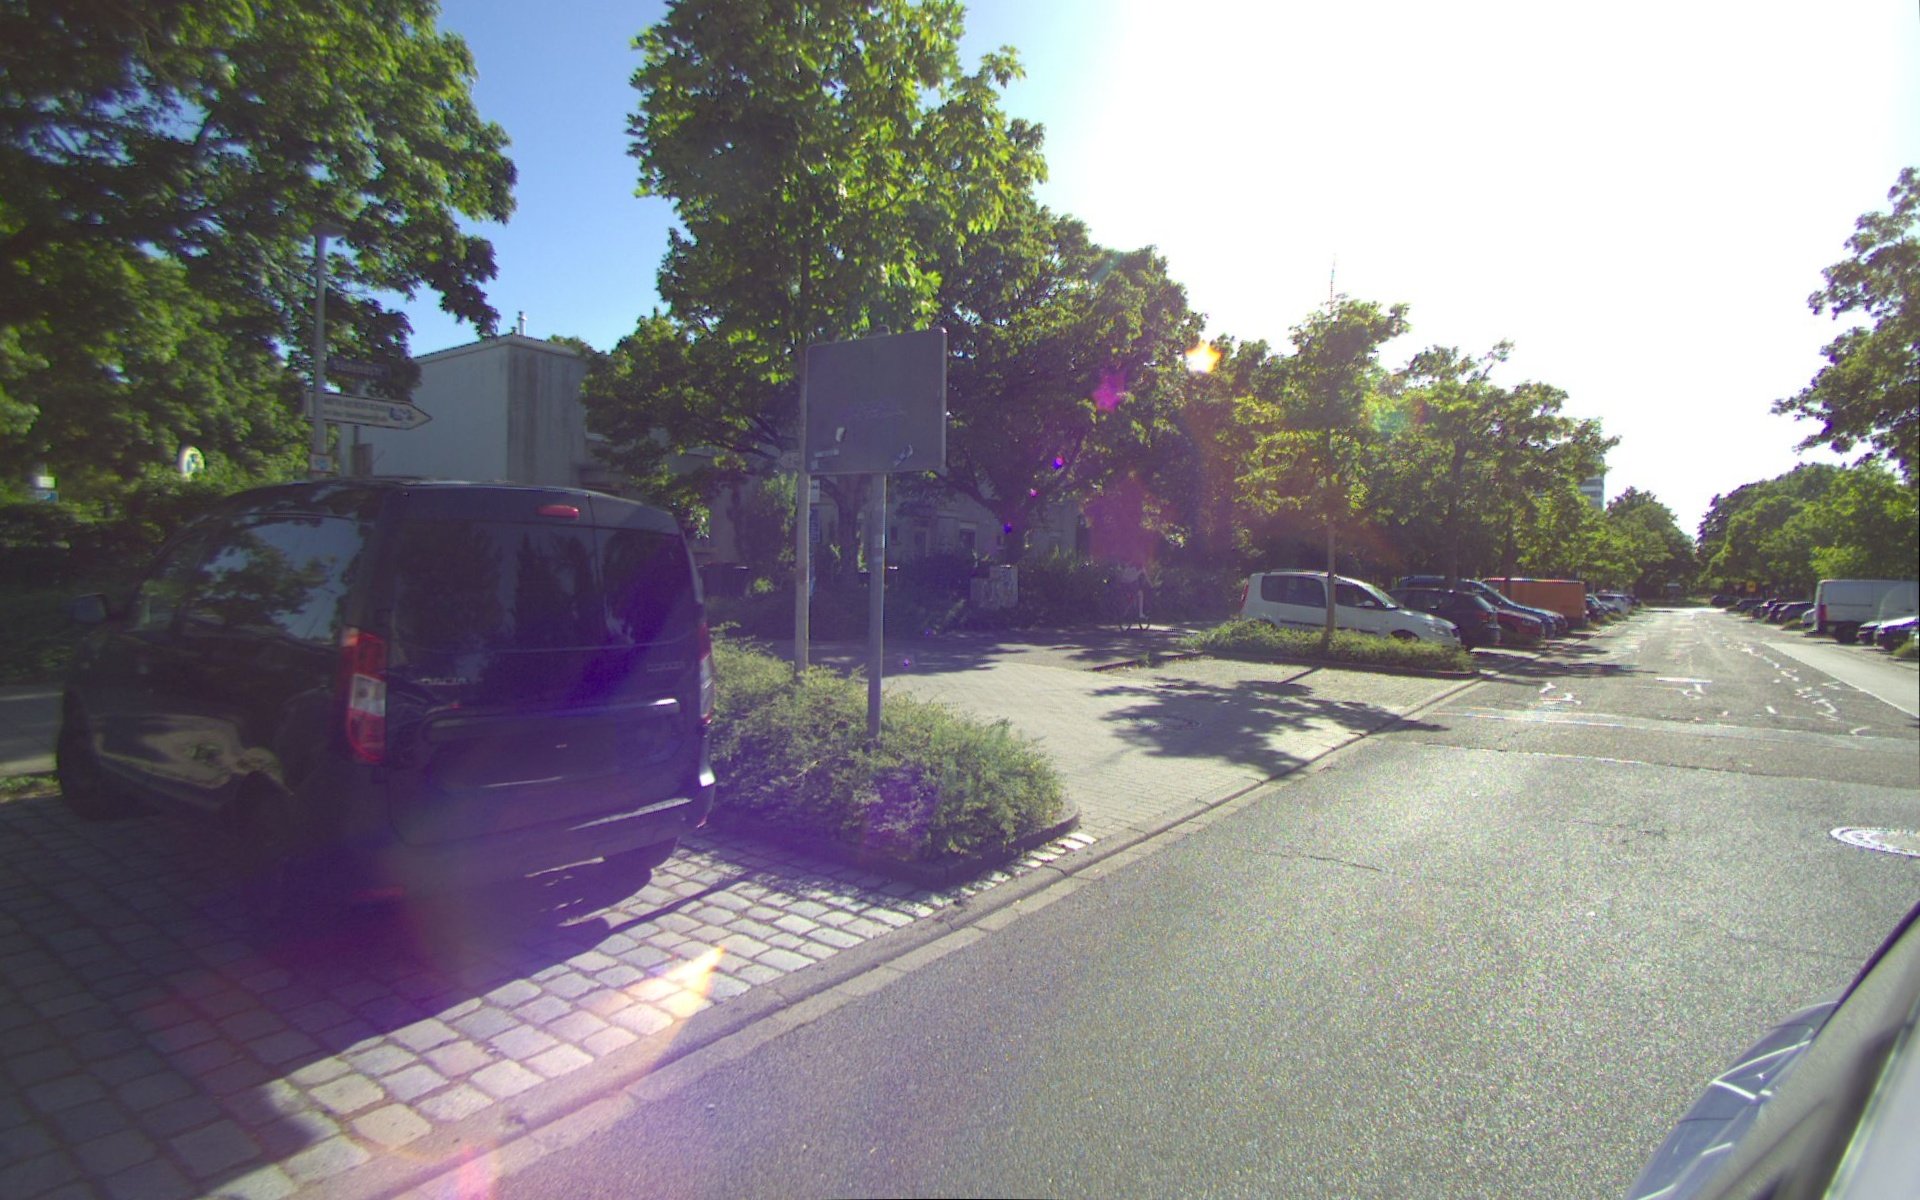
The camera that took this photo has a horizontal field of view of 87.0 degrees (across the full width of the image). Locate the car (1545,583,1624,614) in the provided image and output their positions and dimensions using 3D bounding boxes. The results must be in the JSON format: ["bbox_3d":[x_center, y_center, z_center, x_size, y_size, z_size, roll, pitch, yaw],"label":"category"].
[{"bbox_3d":[40.525,-0.152,65.726,4.234,1.736,1.949,4,3,35],"label":"car"}]

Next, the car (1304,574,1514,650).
[{"bbox_3d":[10.322,0.204,23.363,4.143,1.423,1.806,4,3,35],"label":"car"}]

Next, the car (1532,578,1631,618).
[{"bbox_3d":[32.067,-0.149,52.252,4.234,1.774,1.949,4,3,35],"label":"car"}]

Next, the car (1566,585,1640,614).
[{"bbox_3d":[45.278,-0.079,71.300,4.234,1.736,1.949,4,3,35],"label":"car"}]

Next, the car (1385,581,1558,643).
[{"bbox_3d":[14.474,0.280,28.718,4.143,1.423,1.806,4,3,35],"label":"car"}]

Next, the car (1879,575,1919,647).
[{"bbox_3d":[29.079,0.386,28.391,4.608,2.016,1.974,3,1,36],"label":"car"}]

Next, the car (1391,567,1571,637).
[{"bbox_3d":[15.789,0.004,30.784,4.636,1.794,1.806,4,3,35],"label":"car"}]

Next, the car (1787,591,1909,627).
[{"bbox_3d":[46.279,0.437,52.895,4.538,1.620,1.974,3,1,36],"label":"car"}]

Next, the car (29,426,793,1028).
[{"bbox_3d":[-2.985,0.264,5.126,4.146,1.869,1.855,4,3,37],"label":"car"}]

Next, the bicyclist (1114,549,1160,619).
[{"bbox_3d":[4.009,-0.360,22.879,0.593,1.542,1.001,2,1,37],"label":"bicyclist"}]

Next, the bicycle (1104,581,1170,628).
[{"bbox_3d":[4.037,0.105,22.951,0.592,1.008,2.061,2,1,36],"label":"bicycle"}]

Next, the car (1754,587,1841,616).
[{"bbox_3d":[59.539,0.065,72.070,4.538,1.853,1.974,3,1,36],"label":"car"}]

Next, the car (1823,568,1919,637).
[{"bbox_3d":[35.010,0.125,36.947,5.105,2.408,1.974,3,1,36],"label":"car"}]

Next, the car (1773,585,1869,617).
[{"bbox_3d":[56.271,0.050,66.238,4.538,1.853,1.974,3,1,36],"label":"car"}]

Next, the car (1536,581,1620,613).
[{"bbox_3d":[37.881,-0.222,62.101,4.234,1.736,1.949,4,3,35],"label":"car"}]

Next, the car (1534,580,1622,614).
[{"bbox_3d":[36.489,-0.224,59.776,4.234,1.736,1.949,4,3,35],"label":"car"}]

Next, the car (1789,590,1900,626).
[{"bbox_3d":[50.597,0.441,58.028,4.538,1.853,1.974,3,1,36],"label":"car"}]

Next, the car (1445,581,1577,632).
[{"bbox_3d":[18.822,0.178,34.604,3.764,1.492,1.747,4,3,35],"label":"car"}]

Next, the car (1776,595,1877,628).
[{"bbox_3d":[53.638,0.692,62.760,4.538,1.853,1.974,3,1,36],"label":"car"}]

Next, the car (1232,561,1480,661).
[{"bbox_3d":[7.637,0.137,19.674,4.143,1.617,1.806,4,3,35],"label":"car"}]

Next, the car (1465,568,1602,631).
[{"bbox_3d":[21.508,-0.075,38.014,4.234,2.056,1.949,4,3,35],"label":"car"}]

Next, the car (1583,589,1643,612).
[{"bbox_3d":[56.292,0.020,87.312,4.234,1.736,1.949,4,3,35],"label":"car"}]

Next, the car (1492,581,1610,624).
[{"bbox_3d":[25.697,0.062,44.024,4.234,1.590,1.949,4,3,35],"label":"car"}]

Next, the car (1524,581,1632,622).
[{"bbox_3d":[29.447,0.031,48.261,4.234,1.633,1.949,4,3,35],"label":"car"}]

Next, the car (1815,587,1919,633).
[{"bbox_3d":[40.723,0.431,44.533,4.538,1.853,1.974,3,1,36],"label":"car"}]
